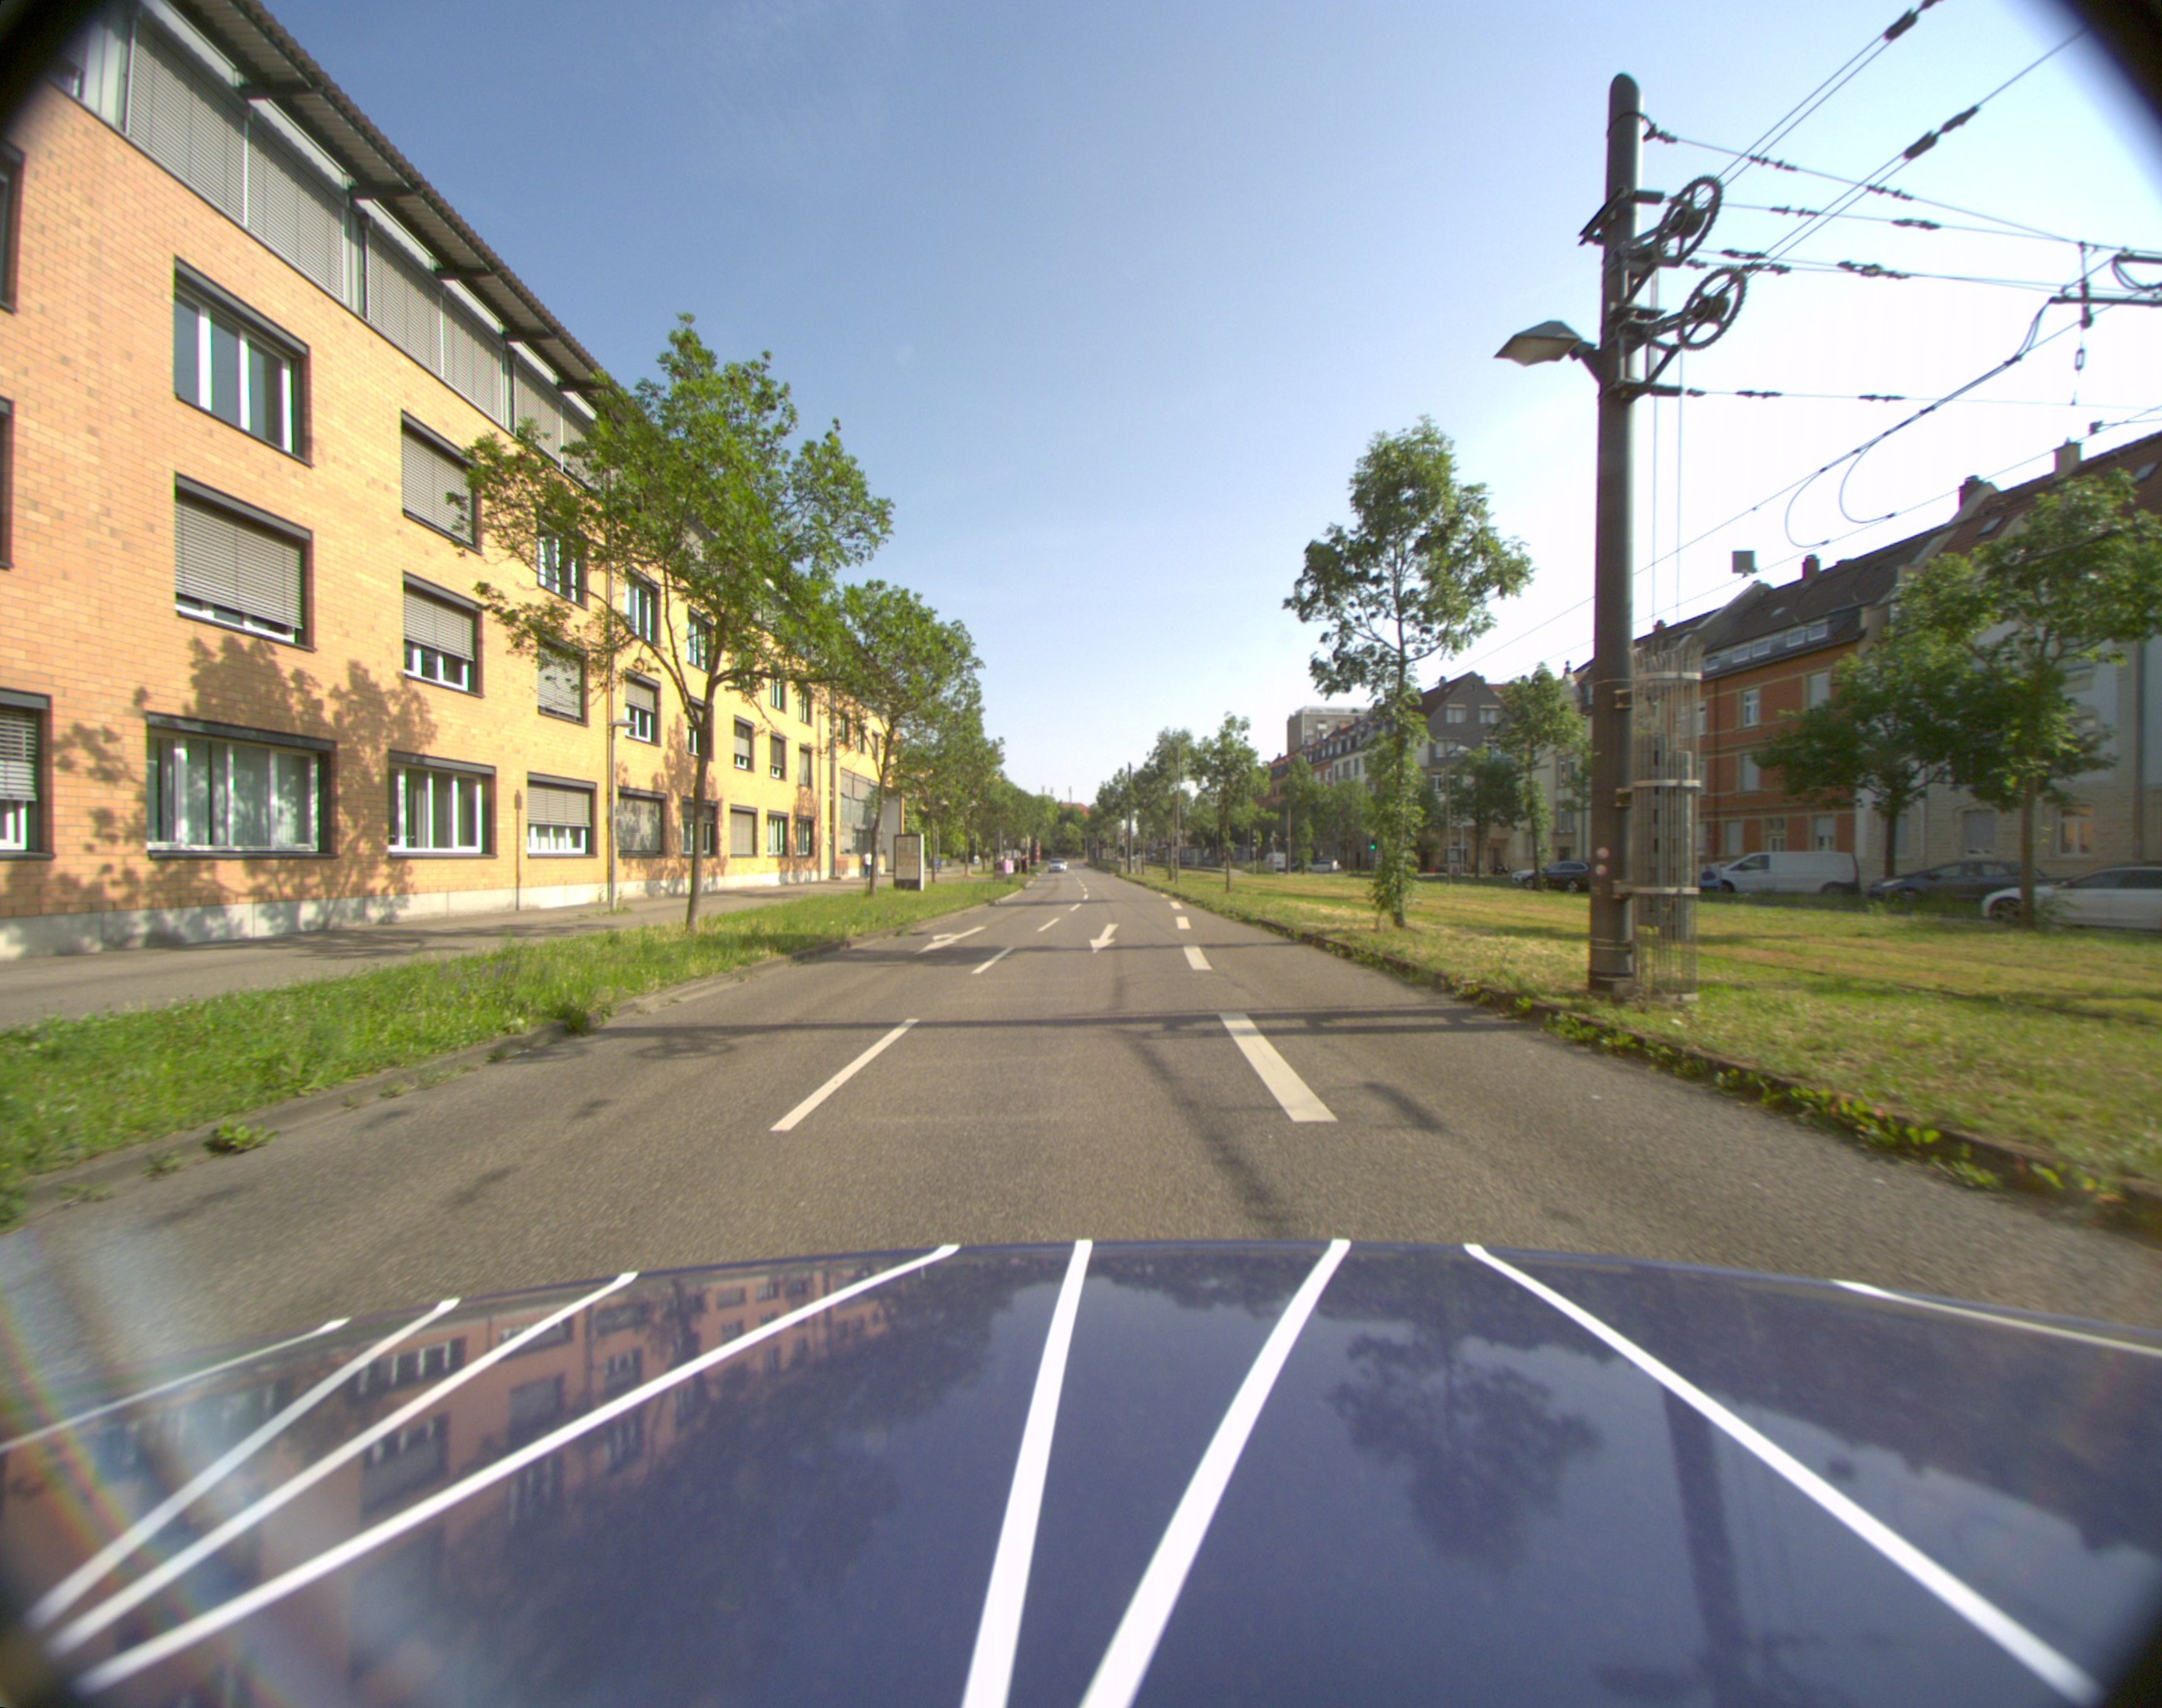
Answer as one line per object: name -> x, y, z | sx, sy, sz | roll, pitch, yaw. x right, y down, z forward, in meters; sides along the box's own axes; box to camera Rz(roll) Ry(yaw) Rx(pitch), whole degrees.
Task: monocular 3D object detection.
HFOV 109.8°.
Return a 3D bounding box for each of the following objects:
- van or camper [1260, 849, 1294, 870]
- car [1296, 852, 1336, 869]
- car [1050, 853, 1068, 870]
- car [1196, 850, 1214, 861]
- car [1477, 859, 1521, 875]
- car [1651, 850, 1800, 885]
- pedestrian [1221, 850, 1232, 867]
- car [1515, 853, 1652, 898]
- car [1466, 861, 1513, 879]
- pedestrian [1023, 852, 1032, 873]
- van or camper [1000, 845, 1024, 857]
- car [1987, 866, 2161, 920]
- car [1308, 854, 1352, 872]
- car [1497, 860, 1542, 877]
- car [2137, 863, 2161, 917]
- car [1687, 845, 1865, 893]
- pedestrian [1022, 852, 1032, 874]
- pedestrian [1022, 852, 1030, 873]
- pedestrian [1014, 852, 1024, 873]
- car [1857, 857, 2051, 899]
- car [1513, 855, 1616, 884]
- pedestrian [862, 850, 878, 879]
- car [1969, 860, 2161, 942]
van or camper -> 20.651, 0.550, 80.358 | 1.957, 2.085, 5.351 | -3, 1, -2
car -> 26.734, 0.736, 86.459 | 3.989, 1.716, 2.003 | -2, 1, 33
car -> -2.179, 0.737, 74.857 | 1.629, 1.476, 3.365 | -3, 1, -3
car -> 18.586, 0.267, 113.674 | 1.839, 1.524, 4.575 | -1, 1, -1
car -> 37.498, 1.132, 68.336 | 1.672, 1.291, 3.999 | 0, 1, -1
car -> 27.641, 0.607, 32.808 | 4.687, 1.340, 1.860 | -2, 1, 33
pedestrian -> 14.340, 0.411, 74.799 | 0.886, 1.645, 0.852 | 0, 1, -6
car -> 21.398, 0.831, 32.714 | 1.999, 1.621, 5.377 | -3, 1, -4
car -> 41.065, 1.611, 76.335 | 3.824, 1.574, 1.604 | -3, 1, 0
pedestrian -> -4.282, 0.679, 60.800 | 0.707, 1.637, 0.689 | 1, 1, -4
van or camper -> -17.153, -0.837, 188.114 | 5.802, 2.678, 2.407 | -2, 1, -5
car -> 27.253, 1.024, 20.242 | 3.677, 1.234, 1.665 | -2, 3, 33
car -> 26.354, 0.984, 80.475 | 3.989, 1.716, 2.003 | -2, 1, 33
car -> 39.351, 1.288, 68.289 | 1.672, 1.404, 3.999 | 0, 1, -1
car -> 27.275, 0.826, 17.132 | 3.677, 1.234, 1.665 | -2, 1, 33
car -> 27.359, 0.615, 30.177 | 4.939, 1.716, 1.860 | -2, 1, 33
pedestrian -> -4.152, 0.710, 58.462 | 0.707, 1.637, 0.689 | 1, 1, -4
pedestrian -> -4.335, 0.698, 59.733 | 0.636, 1.637, 0.608 | 1, 1, -5
pedestrian -> -5.009, 0.704, 61.320 | 0.707, 1.637, 0.689 | 1, 1, -4
car -> 27.107, 0.762, 23.764 | 3.677, 1.234, 1.529 | -2, -1, 33
car -> 27.229, 0.892, 42.976 | 4.765, 1.477, 2.026 | -2, 1, 31
pedestrian -> -12.437, 0.599, 44.760 | 0.698, 1.647, 0.773 | 1, 1, -1
car -> 22.119, 0.954, 15.726 | 1.953, 1.451, 4.646 | -3, 1, -2
